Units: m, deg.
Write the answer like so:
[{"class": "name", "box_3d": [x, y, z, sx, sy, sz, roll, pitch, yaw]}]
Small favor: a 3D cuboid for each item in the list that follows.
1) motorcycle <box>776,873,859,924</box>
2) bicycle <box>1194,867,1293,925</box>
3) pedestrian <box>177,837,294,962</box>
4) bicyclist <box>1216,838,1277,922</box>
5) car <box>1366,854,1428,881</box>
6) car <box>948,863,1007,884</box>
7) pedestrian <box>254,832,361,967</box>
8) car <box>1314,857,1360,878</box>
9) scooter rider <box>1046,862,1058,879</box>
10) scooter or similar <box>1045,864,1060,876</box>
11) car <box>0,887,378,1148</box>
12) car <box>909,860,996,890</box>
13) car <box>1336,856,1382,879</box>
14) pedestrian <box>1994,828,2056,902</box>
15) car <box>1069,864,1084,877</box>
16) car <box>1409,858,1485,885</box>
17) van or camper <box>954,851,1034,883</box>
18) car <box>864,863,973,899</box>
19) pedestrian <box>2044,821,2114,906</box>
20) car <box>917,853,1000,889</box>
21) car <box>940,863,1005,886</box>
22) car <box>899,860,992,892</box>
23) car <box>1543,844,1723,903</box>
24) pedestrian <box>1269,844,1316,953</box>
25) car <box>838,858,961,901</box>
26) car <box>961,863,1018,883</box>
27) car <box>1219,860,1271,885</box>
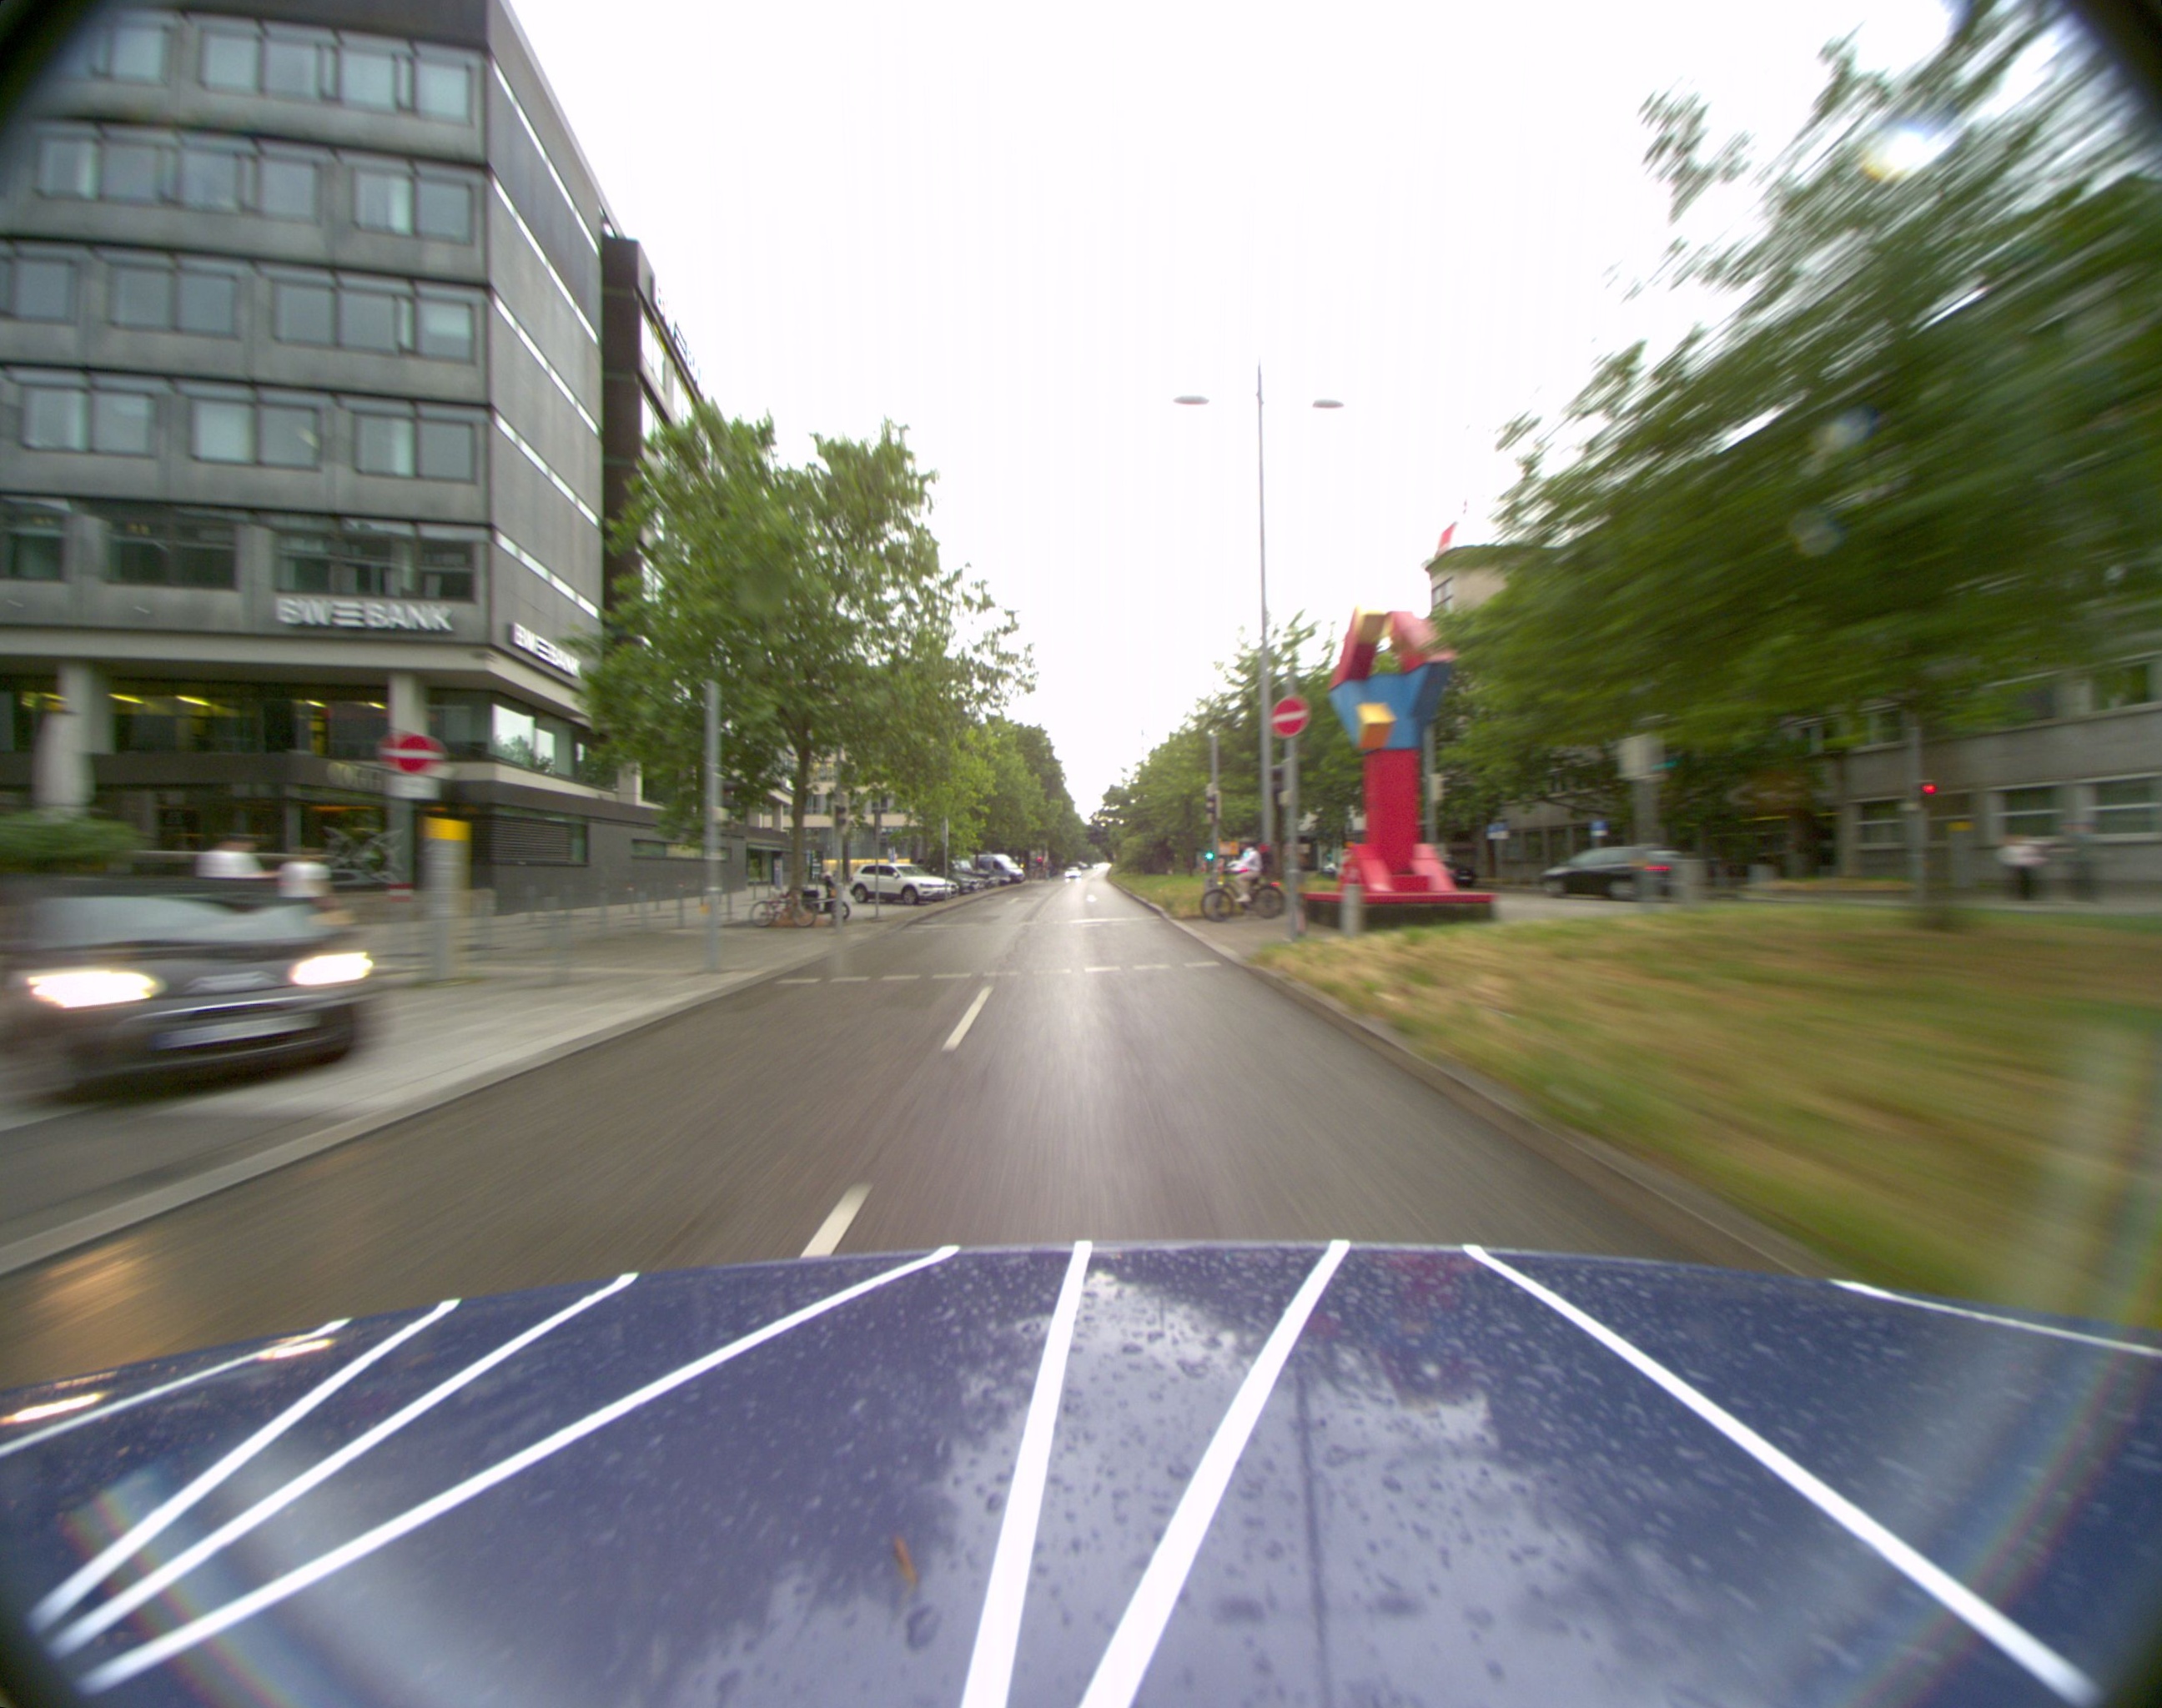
[{"class": "motorcycle", "box_3d": [-7.325, 1.237, 21.157, 2.087, 1.349, 0.678, -1, 0, 8]}, {"class": "bicycle", "box_3d": [3.592, 0.925, 16.937, 1.976, 1.132, 0.777, -4, 0, 2]}, {"class": "pedestrian", "box_3d": [-13.157, 0.694, 11.850, 0.802, 1.857, 0.899, -1, 0, 8]}, {"class": "bicyclist", "box_3d": [3.673, 0.559, 16.934, 1.079, 1.739, 0.812, -4, 2, 2]}, {"class": "car", "box_3d": [19.486, 0.823, 47.070, 1.867, 1.612, 4.467, 0, -1, -2]}, {"class": "car", "box_3d": [-7.561, 1.413, 55.403, 4.051, 1.415, 1.712, -2, 0, 29]}, {"class": "pedestrian", "box_3d": [-12.102, 0.694, 11.912, 0.852, 2.027, 0.753, -1, 0, -1]}, {"class": "car", "box_3d": [19.001, 0.964, 56.620, 1.791, 1.478, 4.575, 0, -1, -2]}, {"class": "scooter rider", "box_3d": [-3.180, 1.804, 84.005, 0.979, 1.892, 1.024, 0, 0, 21]}, {"class": "scooter or similar", "box_3d": [-3.171, 1.741, 84.048, 0.979, 1.347, 1.874, 0, 0, 21]}, {"class": "car", "box_3d": [-7.377, 1.005, 6.019, 3.824, 1.408, 1.638, -1, 0, 31]}, {"class": "car", "box_3d": [-7.025, 1.157, 41.493, 4.380, 1.528, 1.920, -2, 0, 27]}, {"class": "car", "box_3d": [19.005, 0.901, 52.062, 1.690, 1.493, 3.692, 0, -1, -2]}, {"class": "pedestrian", "box_3d": [21.320, 0.242, 17.171, 0.607, 1.619, 0.620, -1, 0, 1]}, {"class": "car", "box_3d": [-0.624, 2.210, 103.309, 1.791, 1.736, 4.575, 0, -1, -2]}, {"class": "car", "box_3d": [20.053, 0.940, 41.880, 1.867, 1.421, 4.565, 0, -1, -2]}, {"class": "van or camper", "box_3d": [-7.044, 1.028, 61.490, 6.249, 2.432, 2.320, -2, 0, 30]}, {"class": "car", "box_3d": [-7.277, 1.203, 33.896, 4.710, 1.465, 1.920, -2, 0, 32]}, {"class": "pedestrian", "box_3d": [21.518, 0.209, 16.396, 0.529, 1.777, 0.721, -1, 0, 2]}, {"class": "car", "box_3d": [-7.166, 1.016, 44.376, 4.506, 1.981, 1.925, -2, 0, 29]}, {"class": "car", "box_3d": [-7.229, 1.367, 50.464, 4.003, 1.415, 1.712, -2, 0, 29]}, {"class": "car", "box_3d": [-6.895, 1.141, 38.708, 4.347, 1.528, 1.920, -2, 0, 27]}, {"class": "car", "box_3d": [14.631, 0.500, 20.449, 1.794, 1.406, 3.999, 1, -1, -3]}, {"class": "pedestrian", "box_3d": [3.388, 0.698, 12.197, 0.529, 1.675, 0.721, -1, 0, 2]}, {"class": "car", "box_3d": [-7.357, 1.033, 30.729, 4.792, 1.640, 1.920, -2, 0, 30]}, {"class": "car", "box_3d": [-6.945, 1.430, 57.822, 4.051, 1.415, 1.712, -2, 0, 29]}, {"class": "car", "box_3d": [10.096, 1.126, 47.081, 1.795, 1.458, 4.724, 1, -1, -5]}]
